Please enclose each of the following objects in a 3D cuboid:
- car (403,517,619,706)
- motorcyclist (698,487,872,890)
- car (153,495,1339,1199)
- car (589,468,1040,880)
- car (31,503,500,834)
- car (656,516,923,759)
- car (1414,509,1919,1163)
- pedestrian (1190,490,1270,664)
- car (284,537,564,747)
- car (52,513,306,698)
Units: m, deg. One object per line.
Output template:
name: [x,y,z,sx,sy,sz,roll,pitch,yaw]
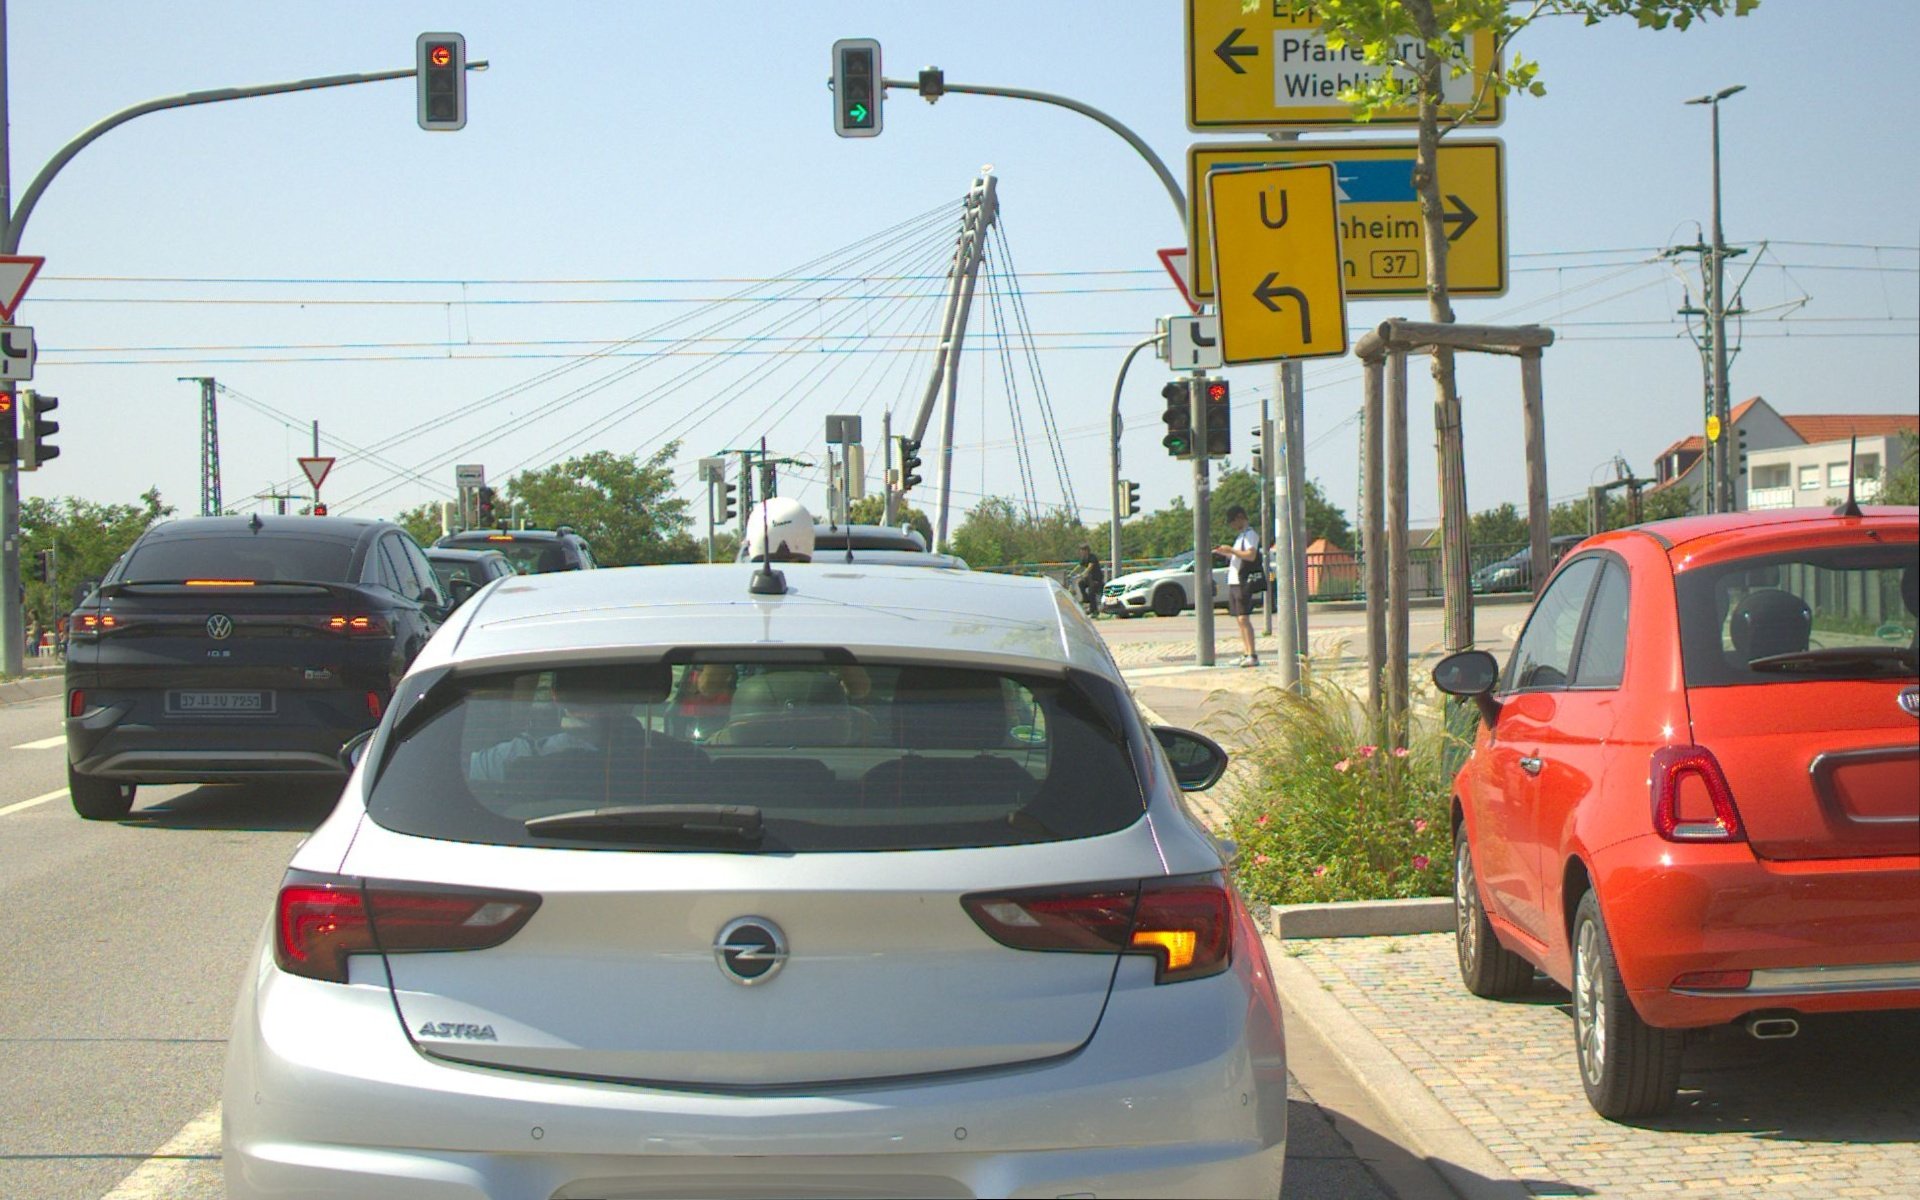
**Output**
car: [-4.066,0.083,31.585,1.649,1.610,3.821,1,1,-3]
motorcyclist: [-0.613,0.302,12.198,0.581,1.384,0.707,1,0,-1]
car: [-0.421,0.572,7.099,1.742,1.473,4.001,1,1,-3]
car: [-0.675,0.273,17.567,1.993,1.814,4.402,1,2,-1]
car: [-3.777,0.323,19.444,1.801,1.636,4.366,1,1,-1]
car: [-1.145,0.196,24.652,1.724,1.558,4.000,1,2,0]
car: [2.328,0.514,9.762,1.610,1.491,3.352,-2,1,1]
pedestrian: [2.933,-0.251,37.434,0.647,1.830,0.798,-4,0,-2]
car: [-3.921,0.273,25.649,1.575,1.429,3.786,1,1,-1]
car: [-6.972,0.027,31.001,1.597,1.542,3.763,1,1,-3]
